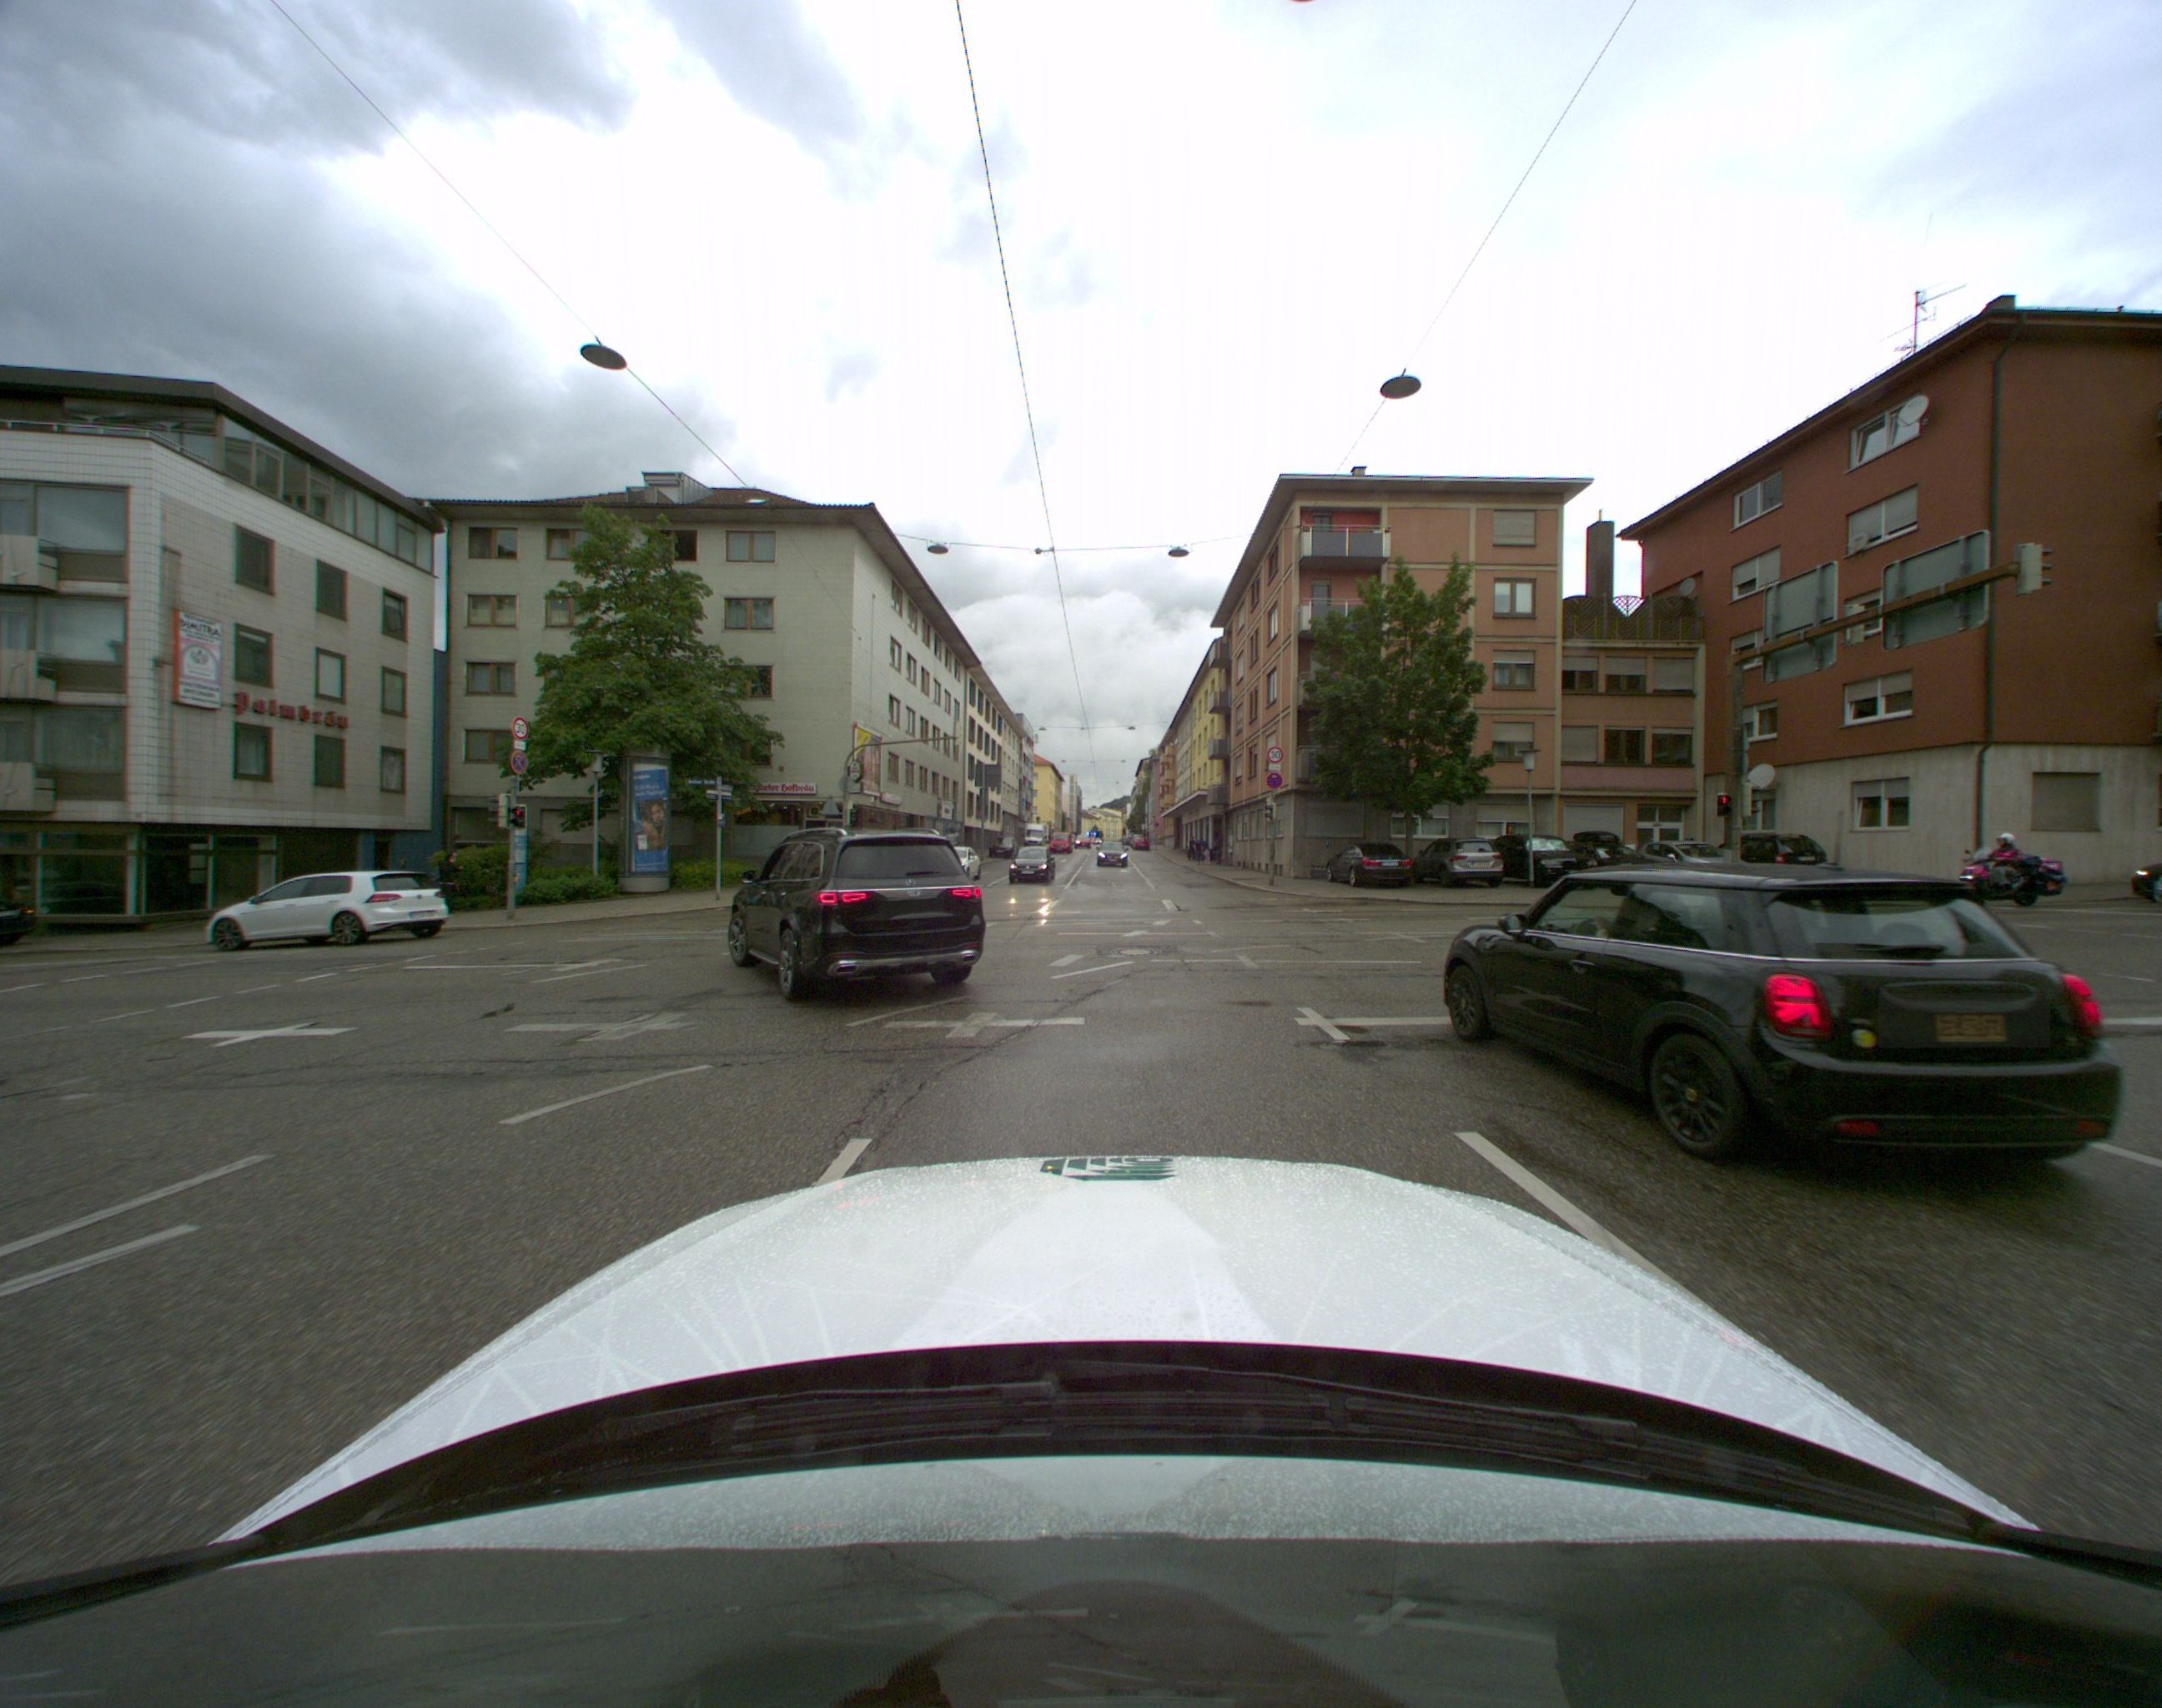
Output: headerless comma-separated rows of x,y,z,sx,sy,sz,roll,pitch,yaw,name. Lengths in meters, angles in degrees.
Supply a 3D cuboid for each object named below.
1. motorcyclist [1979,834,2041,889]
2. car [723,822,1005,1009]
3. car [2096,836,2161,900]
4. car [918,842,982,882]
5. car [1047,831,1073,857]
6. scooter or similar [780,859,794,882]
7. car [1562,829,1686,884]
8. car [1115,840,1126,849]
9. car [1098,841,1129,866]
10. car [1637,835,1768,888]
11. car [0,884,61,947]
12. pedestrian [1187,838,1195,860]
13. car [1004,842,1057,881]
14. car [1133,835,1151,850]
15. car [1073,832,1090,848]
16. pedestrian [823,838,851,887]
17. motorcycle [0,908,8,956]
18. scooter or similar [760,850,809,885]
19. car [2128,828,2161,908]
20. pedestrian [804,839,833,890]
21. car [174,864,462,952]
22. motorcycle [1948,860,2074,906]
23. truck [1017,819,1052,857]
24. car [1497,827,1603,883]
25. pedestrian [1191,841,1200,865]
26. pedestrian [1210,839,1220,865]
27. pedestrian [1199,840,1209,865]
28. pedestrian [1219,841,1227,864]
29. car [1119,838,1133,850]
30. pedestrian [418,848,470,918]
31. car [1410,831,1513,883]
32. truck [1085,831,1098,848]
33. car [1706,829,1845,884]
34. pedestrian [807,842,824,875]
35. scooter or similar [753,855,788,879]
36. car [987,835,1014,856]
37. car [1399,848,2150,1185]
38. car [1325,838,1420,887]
21.145,0.169,18.540,0.655,1.224,0.653,-2,0,-6,motorcyclist
-2.933,0.594,10.104,2.035,1.739,4.698,0,-1,-33,car
26.310,0.275,18.649,3.978,1.442,1.873,-1,-1,-4,car
-5.368,0.305,33.844,1.837,1.512,4.002,-1,0,2,car
-1.879,-0.883,74.761,2.056,2.241,4.623,0,0,3,car
-11.139,0.601,30.830,0.460,0.843,1.313,2,-1,-21,scooter or similar
18.239,0.058,27.586,1.785,1.698,4.006,1,0,6,car
7.742,-1.822,159.974,2.007,1.562,4.004,2,-1,4,car
1.966,-0.019,49.717,1.837,1.489,4.002,0,0,2,car
20.532,0.258,27.123,1.660,1.582,4.006,1,-1,6,car
-27.872,1.618,19.407,4.360,1.391,1.766,-3,3,-7,car
8.128,-0.363,60.140,0.518,1.556,0.569,2,3,2,pedestrian
-2.067,0.293,34.425,1.837,1.489,4.002,-1,0,2,car
7.050,-1.307,93.806,2.007,1.562,5.160,2,-1,4,car
0.071,-1.608,95.033,1.836,1.674,4.002,0,0,2,car
-8.500,0.296,28.369,0.713,1.646,0.751,0,3,-35,pedestrian
-23.677,1.642,16.549,2.245,1.006,0.862,0,0,-10,motorcycle
-10.536,0.498,28.971,1.565,1.190,0.496,2,-1,-28,scooter or similar
22.892,0.236,15.321,3.972,1.554,1.841,-1,0,1,car
-8.875,0.339,27.525,0.713,1.646,0.751,0,3,-35,pedestrian
-15.528,1.067,16.714,4.342,1.461,1.839,-3,0,6,car
21.155,0.657,18.530,2.354,0.927,0.636,-2,-1,-7,motorcycle
-4.986,-1.670,89.389,2.795,3.833,8.151,2,-1,3,truck
15.669,0.027,27.436,1.973,1.719,4.014,-1,0,13,car
7.434,-0.081,52.914,0.518,1.538,0.569,2,3,2,pedestrian
8.258,-0.125,50.132,0.477,1.565,0.558,2,3,2,pedestrian
8.003,-0.101,52.982,0.518,1.518,0.569,2,3,2,pedestrian
8.744,-0.100,50.187,0.362,1.398,0.370,2,3,1,pedestrian
6.938,-1.522,125.413,2.007,1.562,4.004,2,-1,4,car
-17.336,0.771,22.172,0.906,1.817,0.759,1,3,29,pedestrian
12.955,0.082,27.996,1.977,1.660,4.007,0,0,6,car
2.658,-3.560,203.452,2.795,3.833,8.151,2,-1,3,truck
23.395,0.115,27.654,1.980,1.706,4.014,1,-1,13,car
-11.462,0.210,35.151,0.517,1.400,0.578,2,-1,-2,pedestrian
-11.709,0.480,30.724,1.447,0.843,0.553,1,-1,38,scooter or similar
-6.377,-0.658,64.816,1.718,1.603,4.000,0,0,1,car
3.778,0.725,5.542,1.655,1.420,4.072,-1,-1,1,car
10.026,0.252,28.380,1.836,1.554,4.800,0,0,3,car
